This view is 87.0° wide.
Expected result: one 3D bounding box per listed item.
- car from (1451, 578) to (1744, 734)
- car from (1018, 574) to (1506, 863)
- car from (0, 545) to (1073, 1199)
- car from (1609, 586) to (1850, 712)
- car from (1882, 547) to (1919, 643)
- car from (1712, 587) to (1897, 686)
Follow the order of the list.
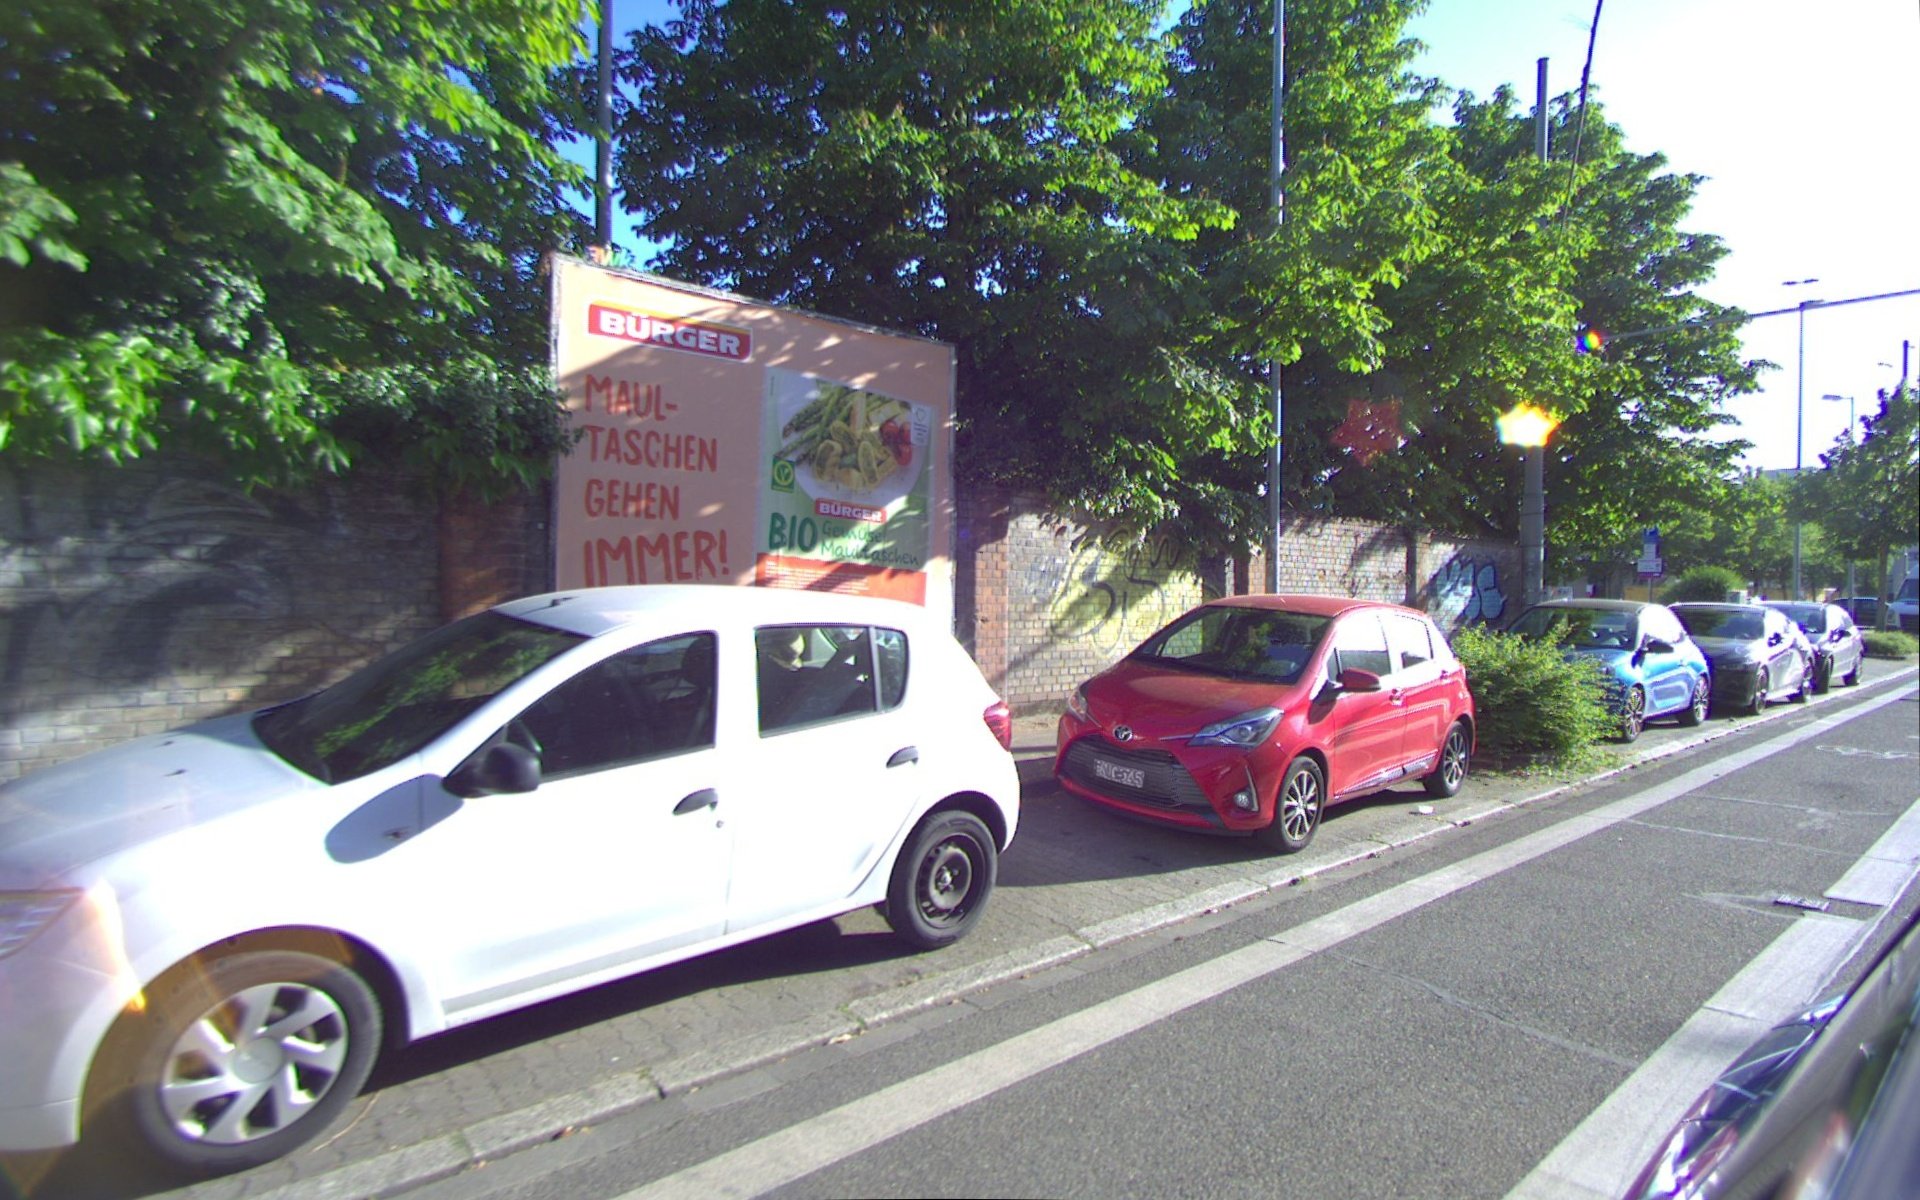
[{"bbox_3d":[7.757,0.549,12.199,3.926,1.549,1.694,0,2,-37],"label":"car"},{"bbox_3d":[2.406,0.617,7.499,3.933,1.549,1.691,-1,2,-43],"label":"car"},{"bbox_3d":[-1.529,0.602,4.095,3.929,1.549,1.693,0,2,-40],"label":"car"},{"bbox_3d":[11.288,0.603,14.753,4.275,1.549,1.694,0,2,-37],"label":"car"},{"bbox_3d":[30.019,-0.137,30.104,5.971,2.698,2.190,0,3,-32],"label":"car"},{"bbox_3d":[15.253,0.568,18.232,3.926,1.549,1.694,0,2,-37],"label":"car"}]
